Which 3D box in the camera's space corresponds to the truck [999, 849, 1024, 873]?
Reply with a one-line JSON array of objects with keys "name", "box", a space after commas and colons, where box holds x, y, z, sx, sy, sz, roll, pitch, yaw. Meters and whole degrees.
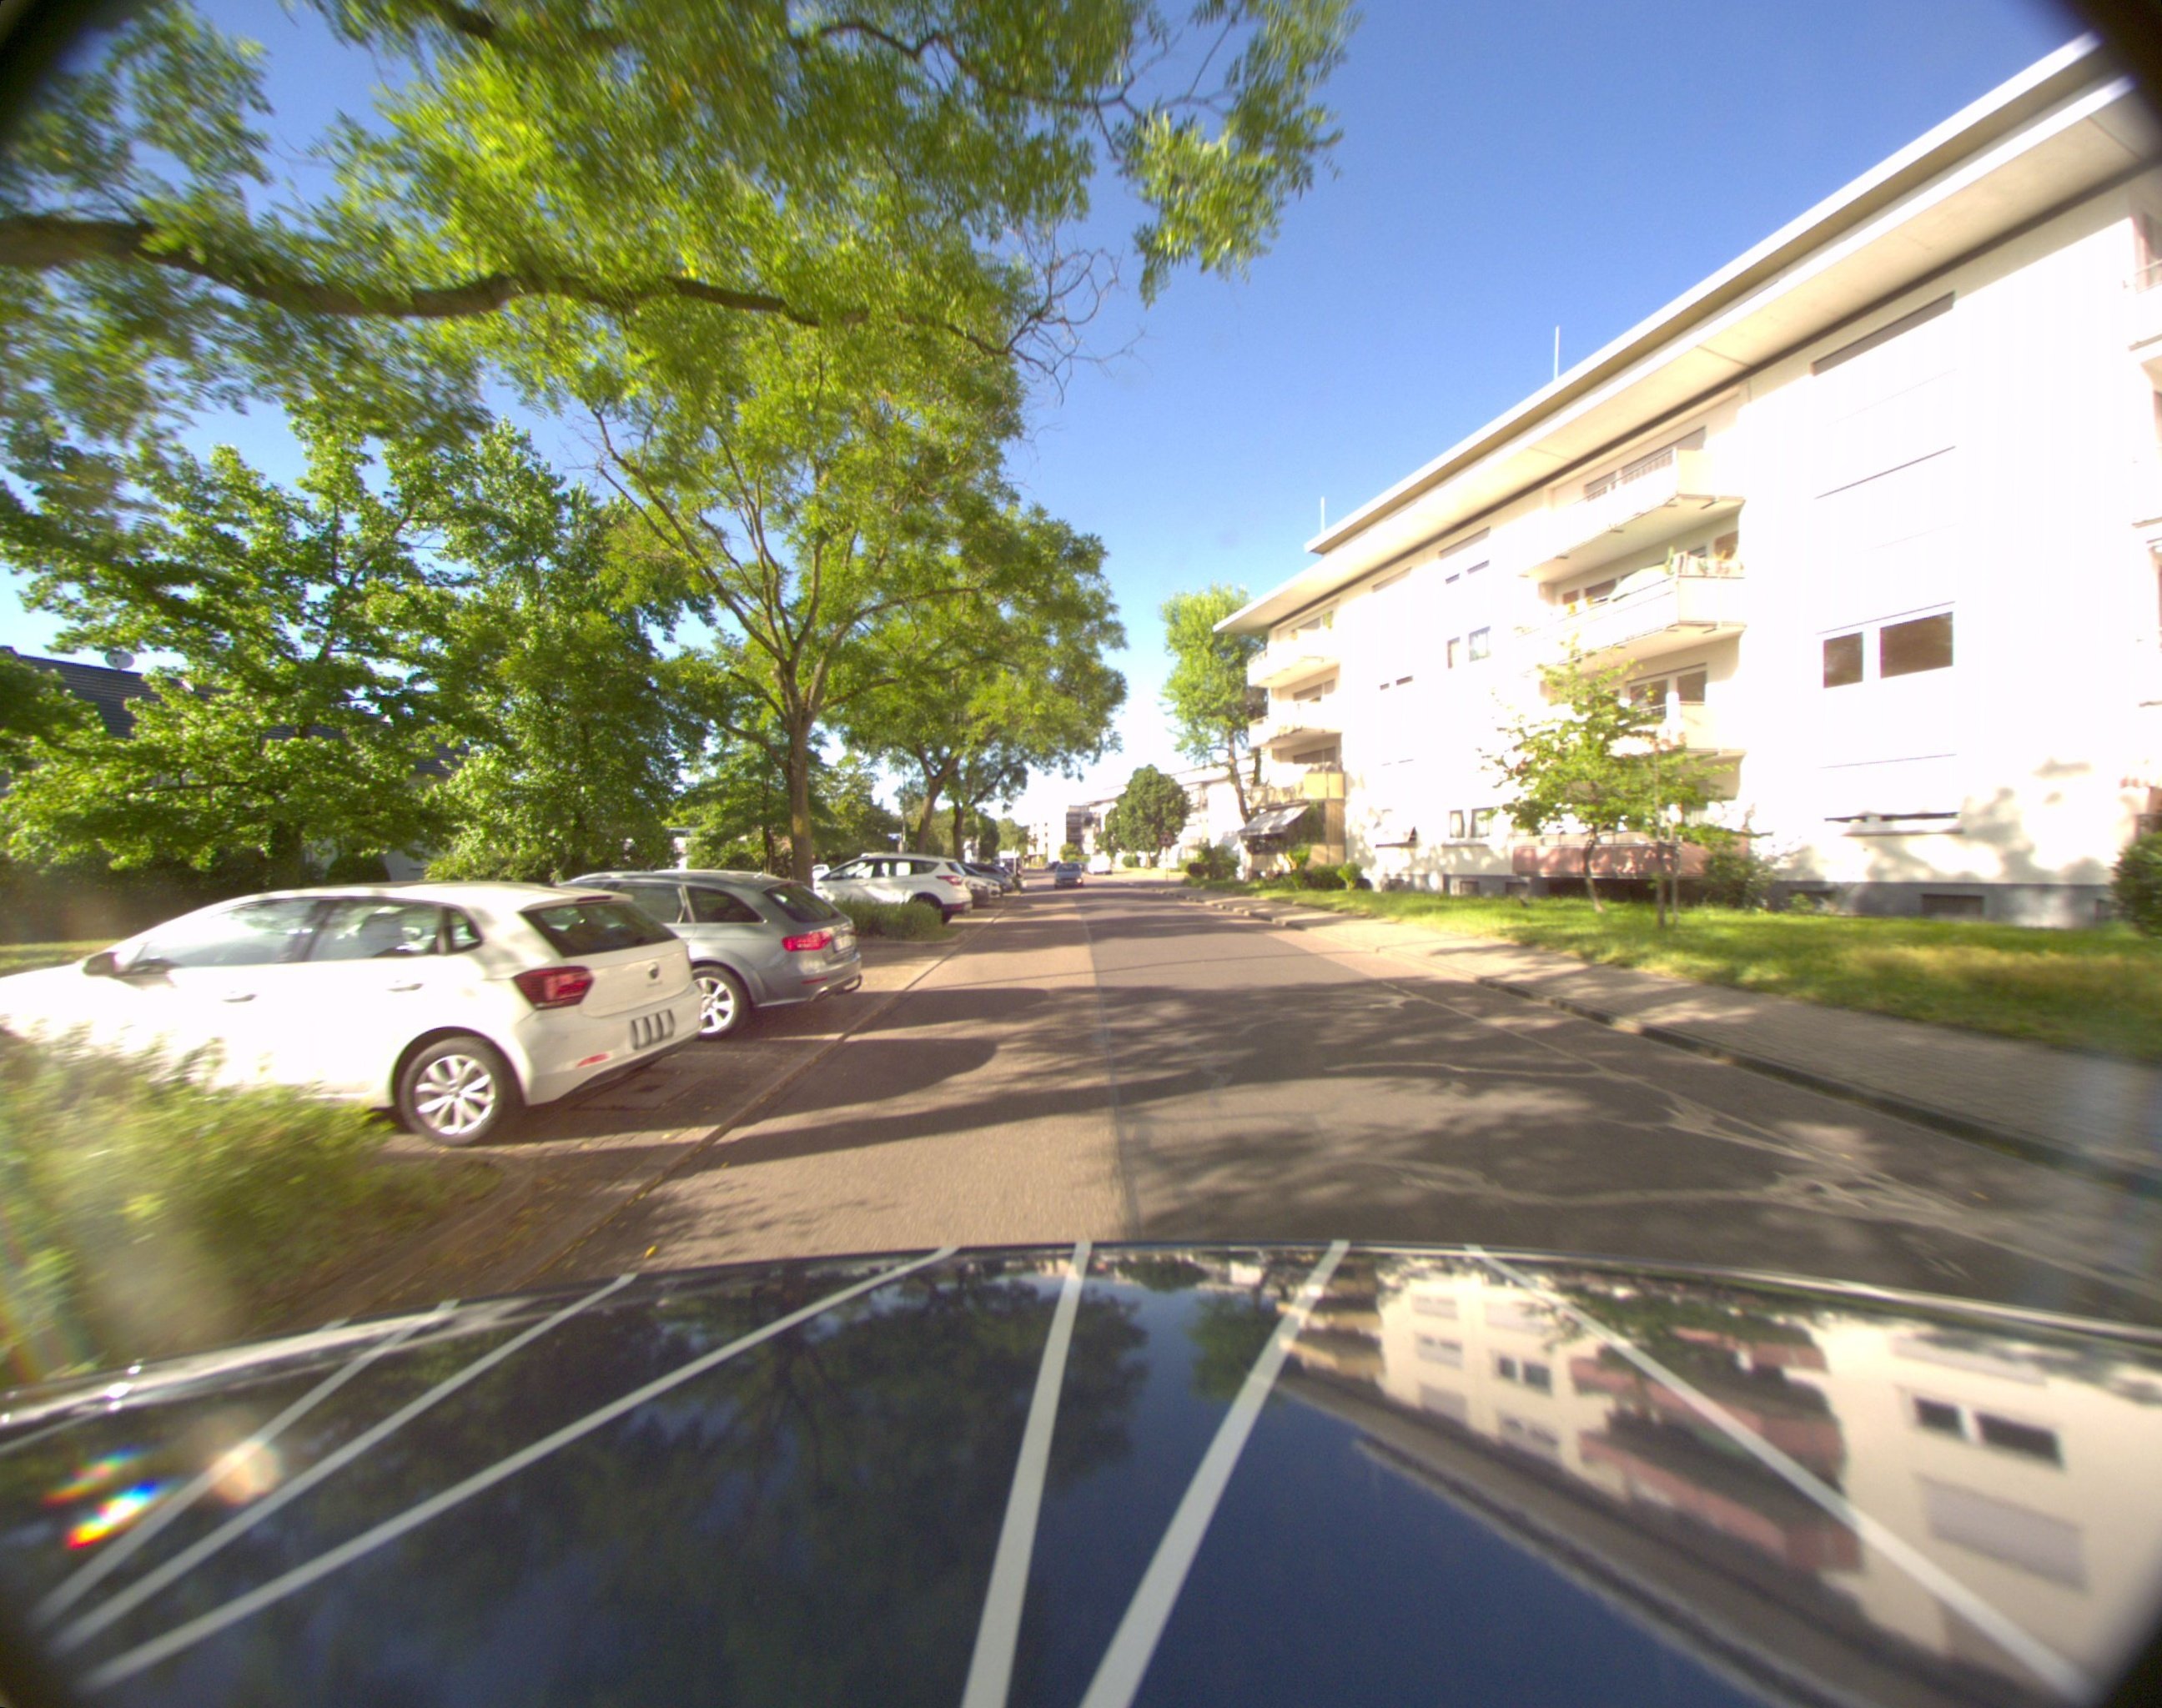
[{"name": "truck", "box": [-8.290, 0.806, 91.546, 2.764, 2.785, 8.263, 1, 0, -4]}]

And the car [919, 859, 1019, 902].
[{"name": "car", "box": [-4.740, 1.110, 32.583, 4.053, 1.649, 1.745, -2, 0, -3]}]

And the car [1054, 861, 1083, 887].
[{"name": "car", "box": [-0.735, 1.148, 45.219, 1.597, 1.417, 4.170, 2, 0, -1]}]

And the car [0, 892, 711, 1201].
[{"name": "car", "box": [-4.689, 1.029, 4.761, 3.917, 1.427, 1.636, 1, 0, 2]}]

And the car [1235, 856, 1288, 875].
[{"name": "car", "box": [13.843, 0.892, 58.371, 3.726, 1.417, 1.534, -1, 0, 5]}]

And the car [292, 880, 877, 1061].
[{"name": "car", "box": [-4.458, 1.025, 7.366, 4.491, 1.463, 1.745, 0, 0, -1]}]

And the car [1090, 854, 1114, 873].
[{"name": "car", "box": [2.172, 0.968, 78.343, 2.007, 1.837, 4.614, -3, 0, -3]}]

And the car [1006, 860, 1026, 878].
[{"name": "car", "box": [-6.133, 1.378, 71.688, 1.774, 1.605, 4.050, 1, 0, -5]}]

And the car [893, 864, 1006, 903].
[{"name": "car", "box": [-5.100, 1.148, 29.895, 4.150, 1.400, 1.745, 1, 0, -3]}]

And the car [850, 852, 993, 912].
[{"name": "car", "box": [-5.171, 0.887, 25.100, 4.446, 1.910, 1.744, 0, 0, -6]}]

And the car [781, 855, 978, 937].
[{"name": "car", "box": [-4.535, 0.921, 17.540, 4.052, 1.753, 1.745, -1, 0, -1]}]

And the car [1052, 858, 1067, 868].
[{"name": "car", "box": [-3.587, 1.531, 125.831, 1.795, 1.535, 4.049, -4, 0, -9]}]

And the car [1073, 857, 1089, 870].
[{"name": "car", "box": [-0.081, 1.190, 97.140, 1.694, 1.661, 4.050, -2, 0, -5]}]

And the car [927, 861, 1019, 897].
[{"name": "car", "box": [-4.950, 1.150, 35.146, 4.053, 1.544, 1.745, 1, 0, -3]}]
